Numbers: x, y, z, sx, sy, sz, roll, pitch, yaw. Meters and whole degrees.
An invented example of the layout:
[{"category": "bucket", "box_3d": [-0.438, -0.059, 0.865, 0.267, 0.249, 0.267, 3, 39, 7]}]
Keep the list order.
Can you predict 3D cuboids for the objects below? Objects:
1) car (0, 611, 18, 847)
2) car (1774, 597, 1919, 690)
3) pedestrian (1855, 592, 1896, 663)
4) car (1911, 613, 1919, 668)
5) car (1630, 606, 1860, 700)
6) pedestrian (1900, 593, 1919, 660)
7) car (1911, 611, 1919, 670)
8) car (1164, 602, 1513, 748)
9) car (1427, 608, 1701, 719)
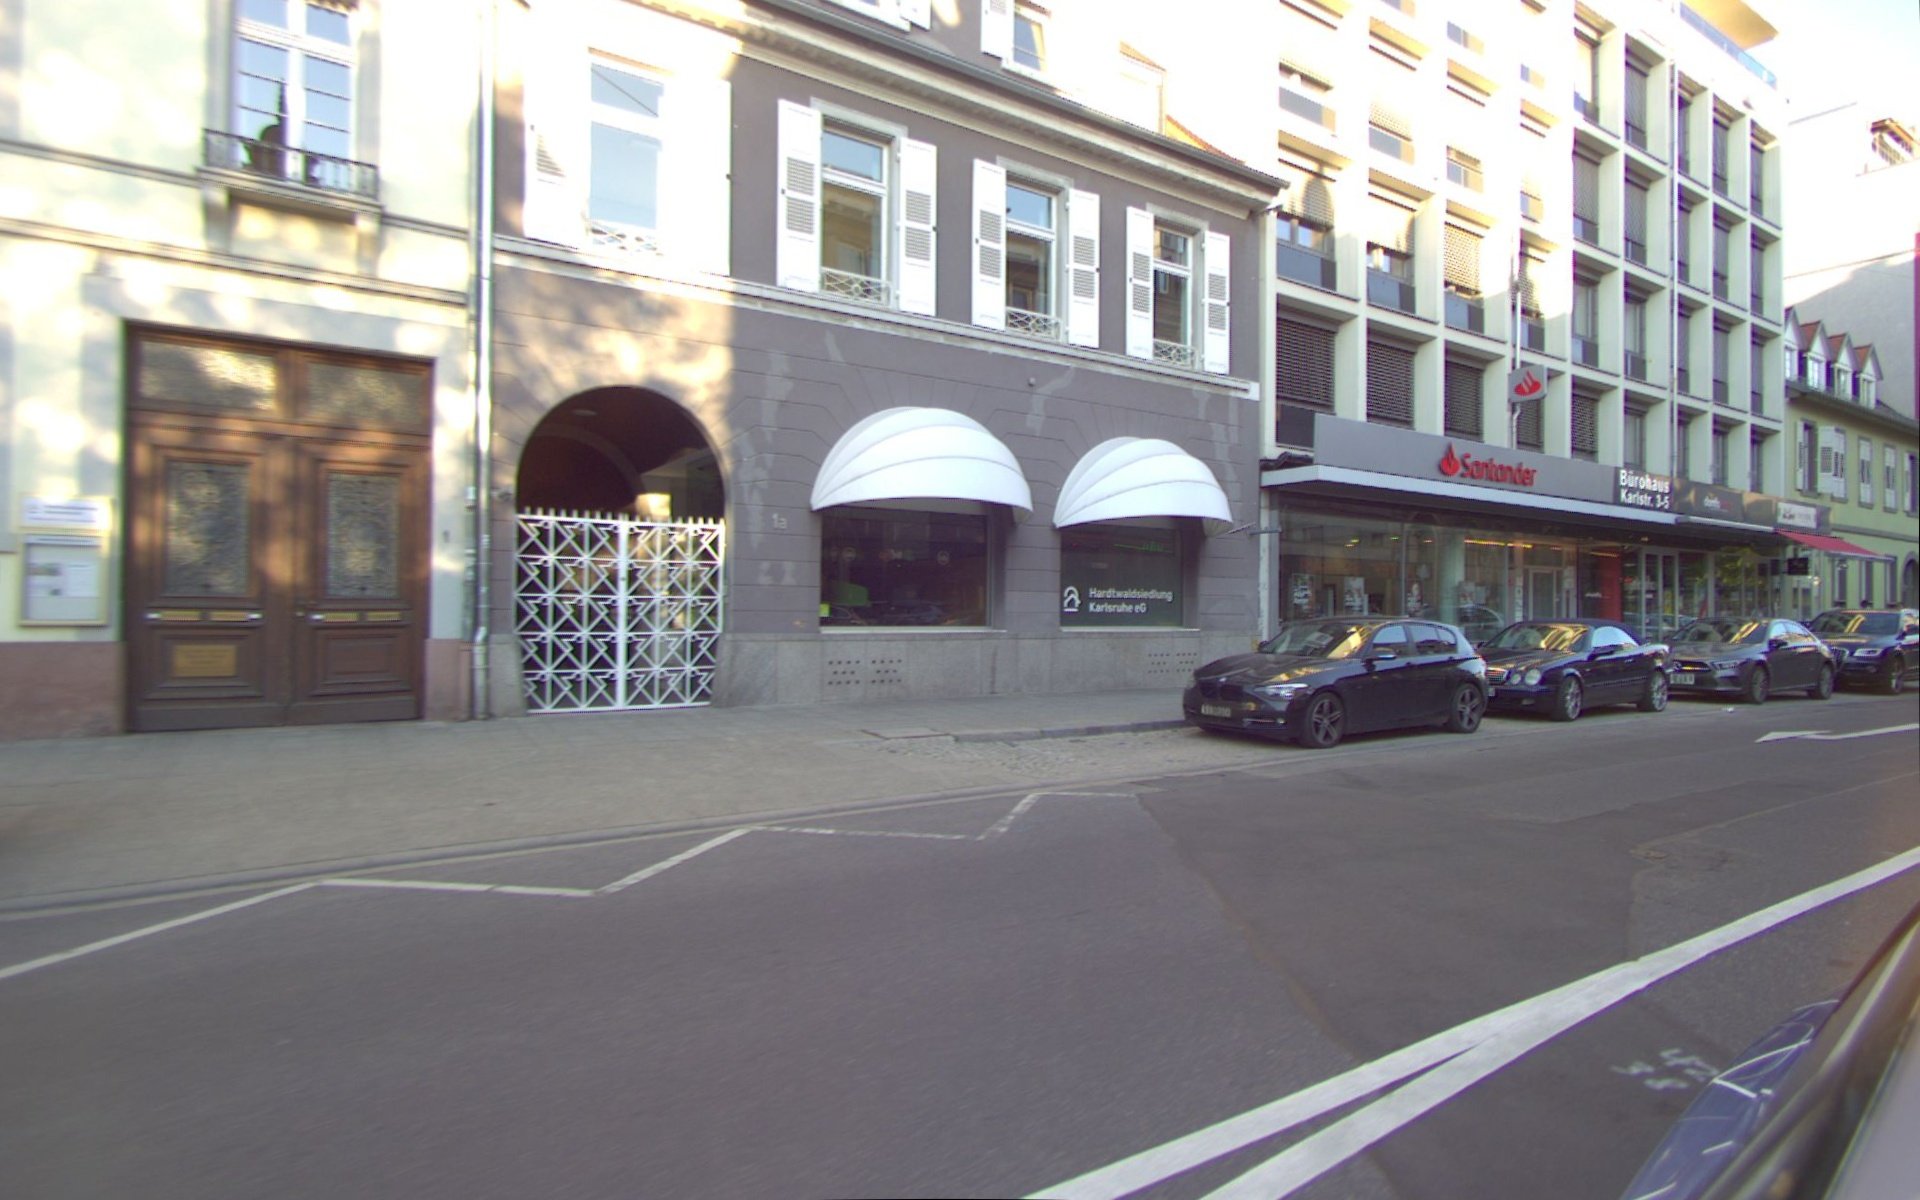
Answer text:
[{"category": "car", "box_3d": [-7.435, 0.735, 4.264, 4.761, 1.413, 1.780, 1, -1, -31]}, {"category": "car", "box_3d": [18.501, 0.823, 20.423, 4.275, 1.680, 1.835, 1, 0, -30]}, {"category": "pedestrian", "box_3d": [27.246, 0.804, 30.124, 0.705, 2.094, 0.763, 1, -1, -33]}, {"category": "car", "box_3d": [27.279, 1.099, 25.687, 4.182, 1.458, 1.740, 0, -1, 24]}, {"category": "car", "box_3d": [13.948, 0.869, 17.918, 4.468, 1.465, 1.749, 1, -1, -31]}, {"category": "pedestrian", "box_3d": [27.797, 0.767, 29.372, 0.705, 1.911, 0.613, 1, -1, -34]}, {"category": "car", "box_3d": [25.504, 1.007, 23.812, 4.170, 1.458, 1.745, 1, -1, 17]}, {"category": "car", "box_3d": [4.583, 0.787, 12.081, 4.166, 1.465, 1.749, 1, -1, -32]}, {"category": "car", "box_3d": [8.969, 0.848, 14.917, 4.414, 1.405, 1.748, 1, -1, -34]}]
